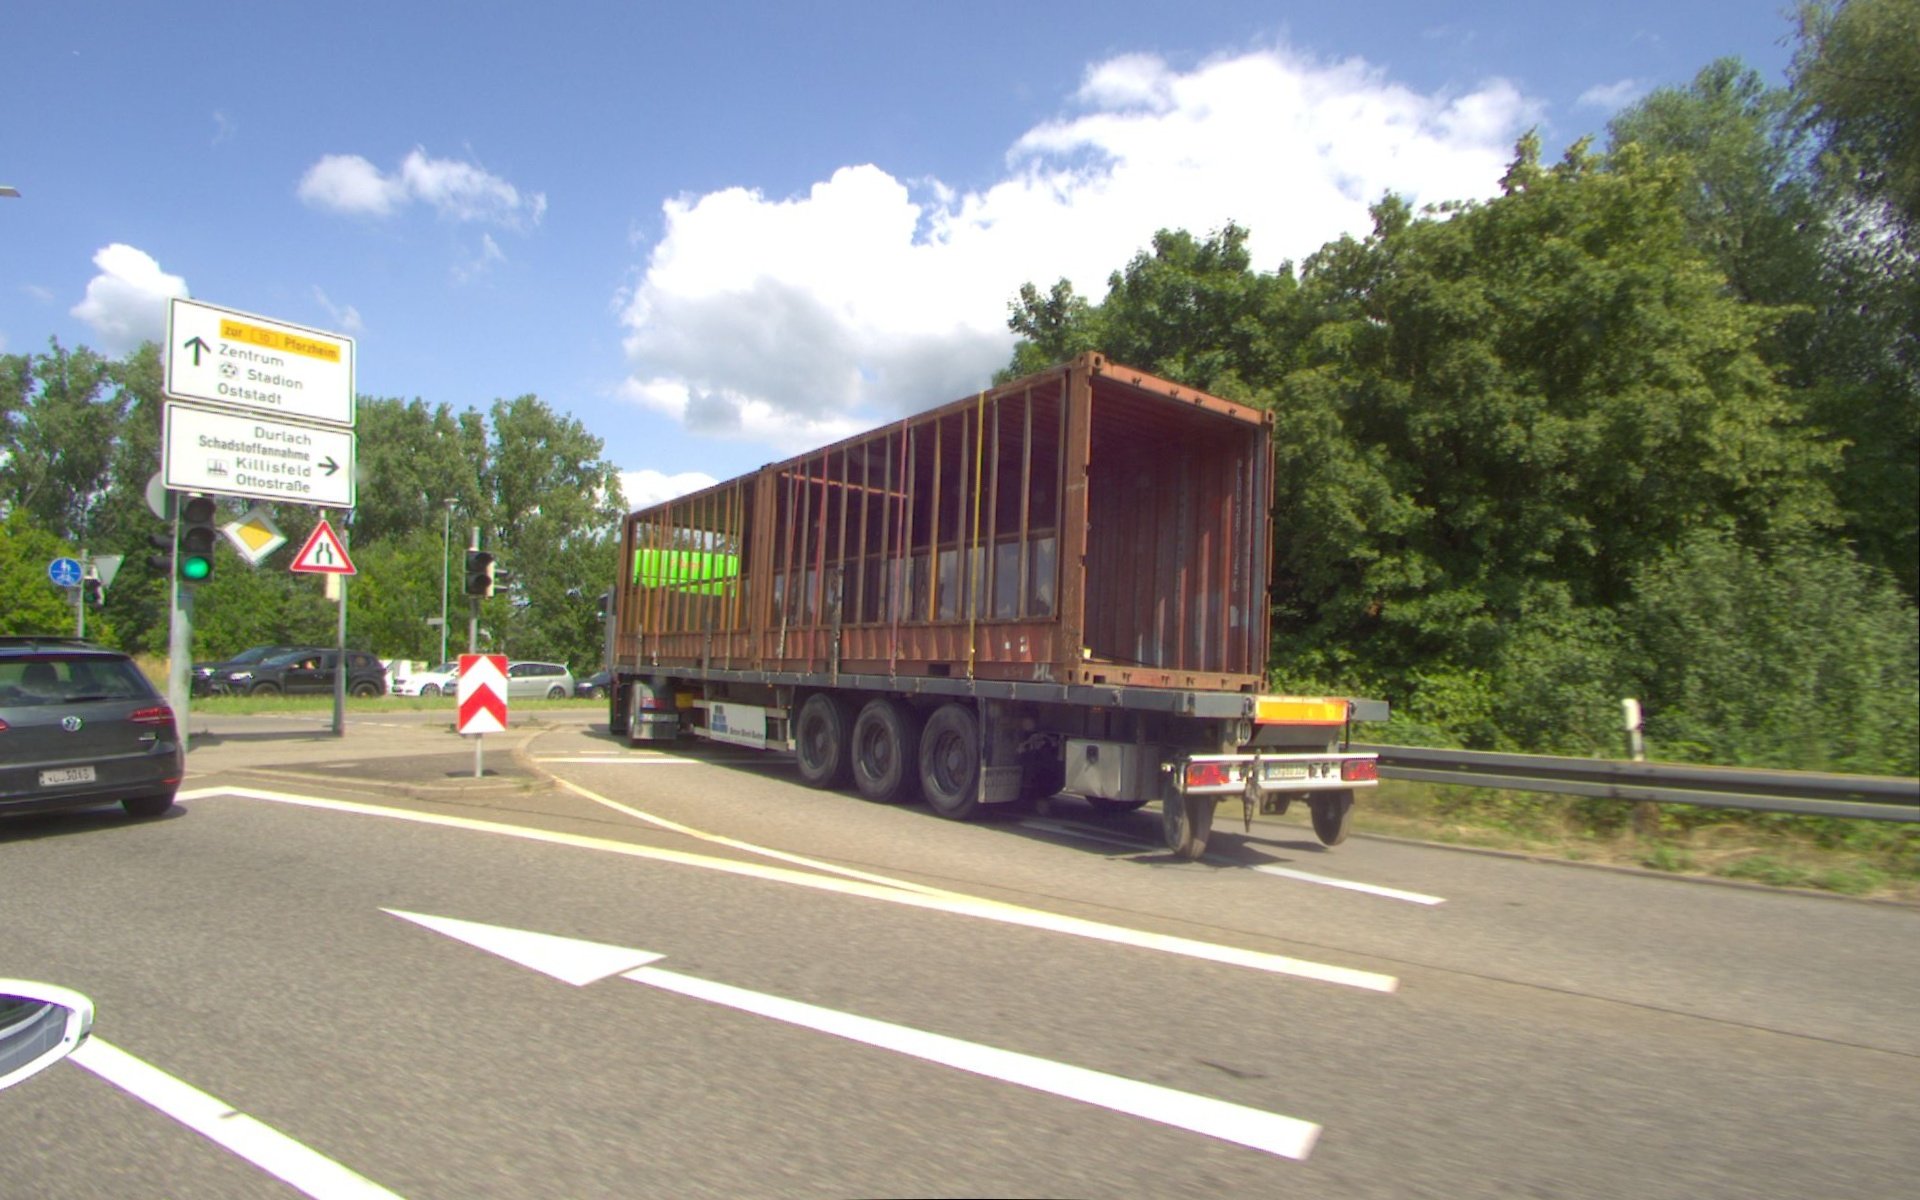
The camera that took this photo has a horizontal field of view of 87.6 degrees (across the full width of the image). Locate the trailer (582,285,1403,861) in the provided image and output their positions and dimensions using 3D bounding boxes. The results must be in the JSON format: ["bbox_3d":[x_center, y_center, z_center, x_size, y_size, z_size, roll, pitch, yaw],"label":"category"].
[{"bbox_3d":[-1.440,0.234,13.098,2.618,3.936,13.752,5,-6,-37],"label":"trailer"}]

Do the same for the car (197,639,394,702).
[{"bbox_3d":[-18.849,2.049,28.609,1.819,1.635,4.278,-2,-5,32],"label":"car"}]

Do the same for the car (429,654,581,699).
[{"bbox_3d":[-15.379,2.637,34.081,1.622,1.392,4.525,0,-5,32],"label":"car"}]

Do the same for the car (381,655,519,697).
[{"bbox_3d":[-18.427,2.785,36.349,1.622,1.392,4.199,0,-5,32],"label":"car"}]

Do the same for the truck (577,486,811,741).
[{"bbox_3d":[-5.217,0.475,18.839,2.837,3.949,5.856,4,-5,-28],"label":"truck"}]

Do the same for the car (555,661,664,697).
[{"bbox_3d":[-14.790,3.373,42.416,1.676,1.392,4.199,0,-5,32],"label":"car"}]

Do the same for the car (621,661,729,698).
[{"bbox_3d":[-11.610,3.275,40.992,1.853,1.392,4.034,0,-5,32],"label":"car"}]

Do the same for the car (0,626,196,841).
[{"bbox_3d":[-8.195,0.979,8.208,3.813,1.497,1.642,-1,-3,29],"label":"car"}]

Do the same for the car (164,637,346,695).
[{"bbox_3d":[-21.819,2.088,31.170,1.811,1.665,4.199,0,-4,32],"label":"car"}]
